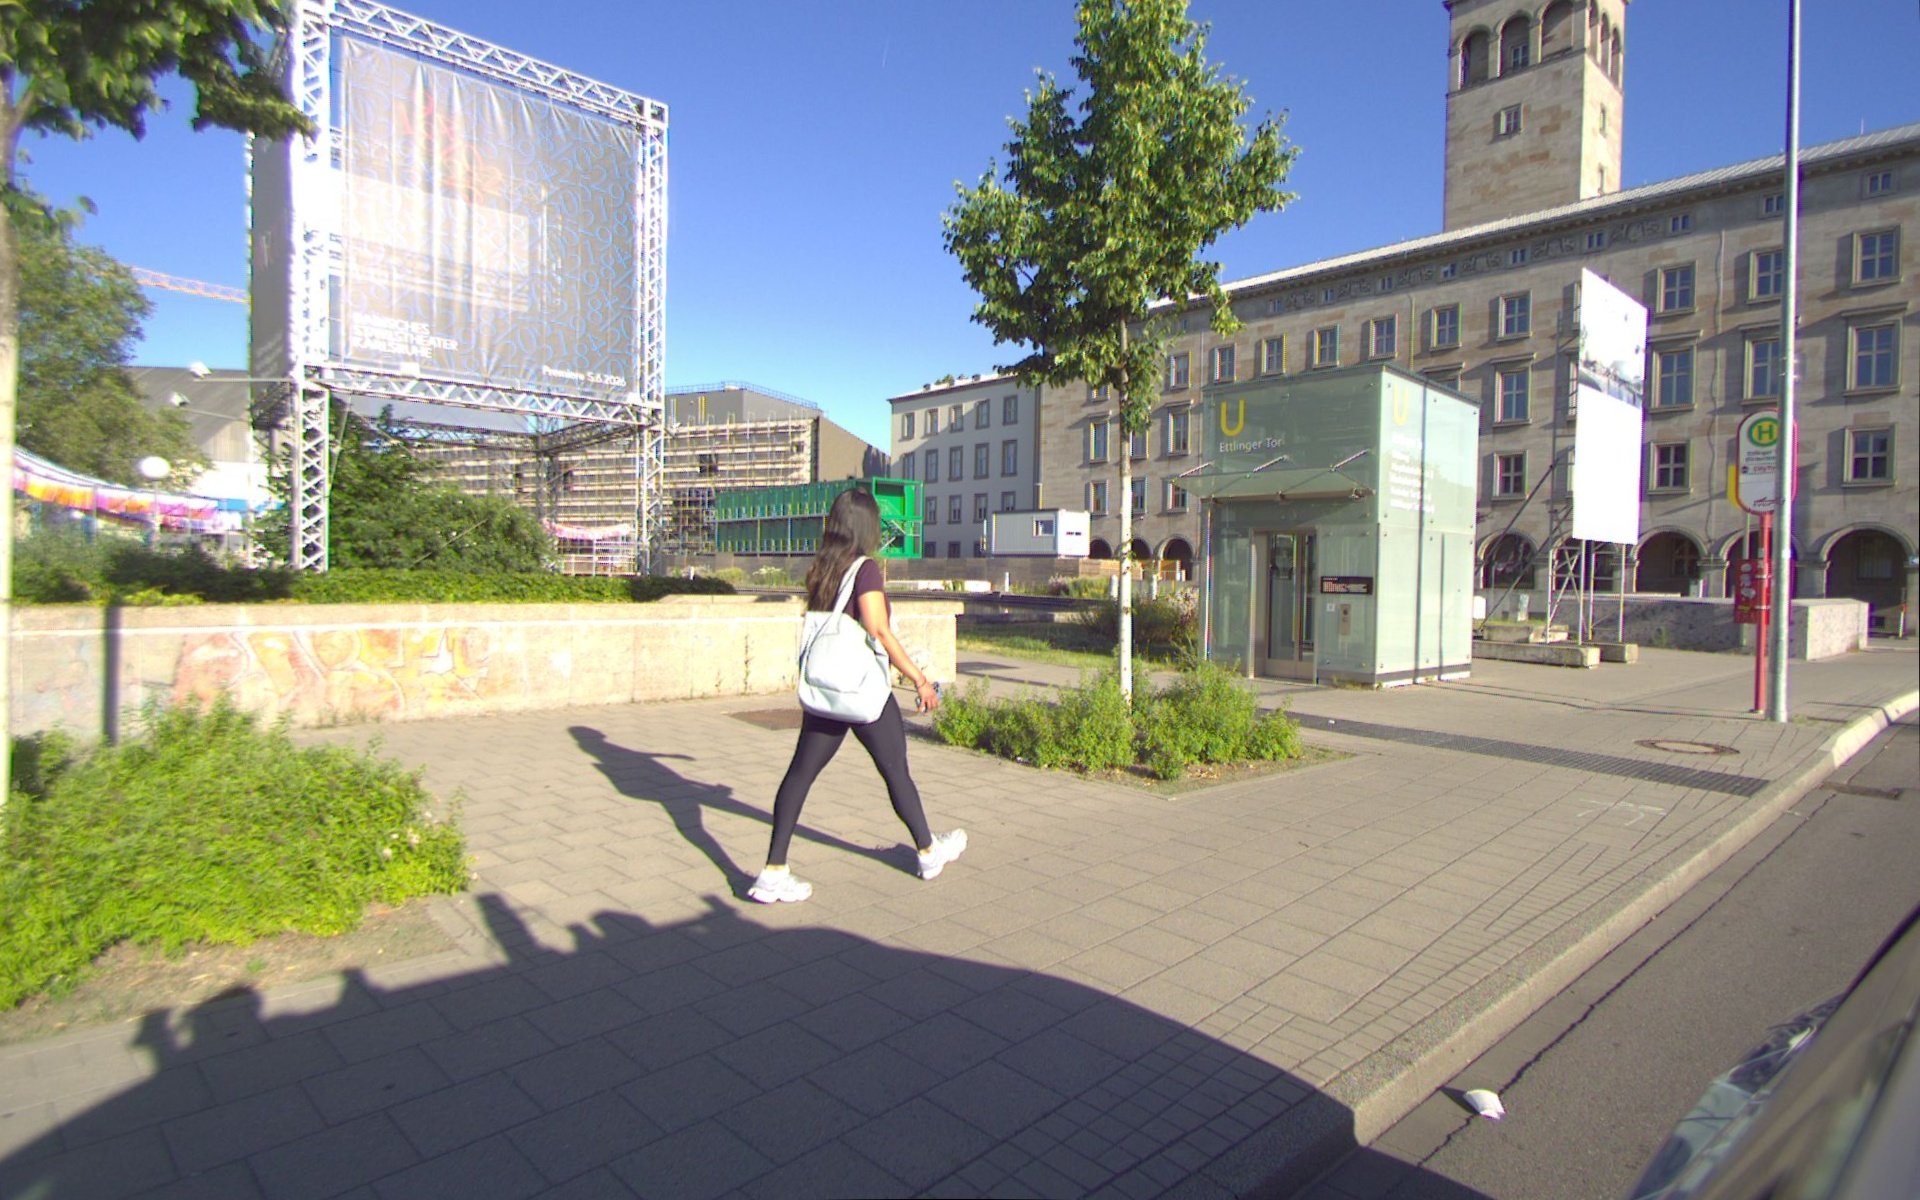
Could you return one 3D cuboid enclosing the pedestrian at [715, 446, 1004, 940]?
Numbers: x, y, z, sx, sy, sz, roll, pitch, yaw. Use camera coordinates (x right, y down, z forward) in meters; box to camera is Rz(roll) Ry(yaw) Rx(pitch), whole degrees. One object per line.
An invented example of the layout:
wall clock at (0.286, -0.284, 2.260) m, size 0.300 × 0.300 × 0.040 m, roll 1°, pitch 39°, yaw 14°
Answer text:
pedestrian at (-0.373, 0.321, 4.335) m, size 0.928 × 1.809 × 1.068 m, roll 1°, pitch 1°, yaw 13°
